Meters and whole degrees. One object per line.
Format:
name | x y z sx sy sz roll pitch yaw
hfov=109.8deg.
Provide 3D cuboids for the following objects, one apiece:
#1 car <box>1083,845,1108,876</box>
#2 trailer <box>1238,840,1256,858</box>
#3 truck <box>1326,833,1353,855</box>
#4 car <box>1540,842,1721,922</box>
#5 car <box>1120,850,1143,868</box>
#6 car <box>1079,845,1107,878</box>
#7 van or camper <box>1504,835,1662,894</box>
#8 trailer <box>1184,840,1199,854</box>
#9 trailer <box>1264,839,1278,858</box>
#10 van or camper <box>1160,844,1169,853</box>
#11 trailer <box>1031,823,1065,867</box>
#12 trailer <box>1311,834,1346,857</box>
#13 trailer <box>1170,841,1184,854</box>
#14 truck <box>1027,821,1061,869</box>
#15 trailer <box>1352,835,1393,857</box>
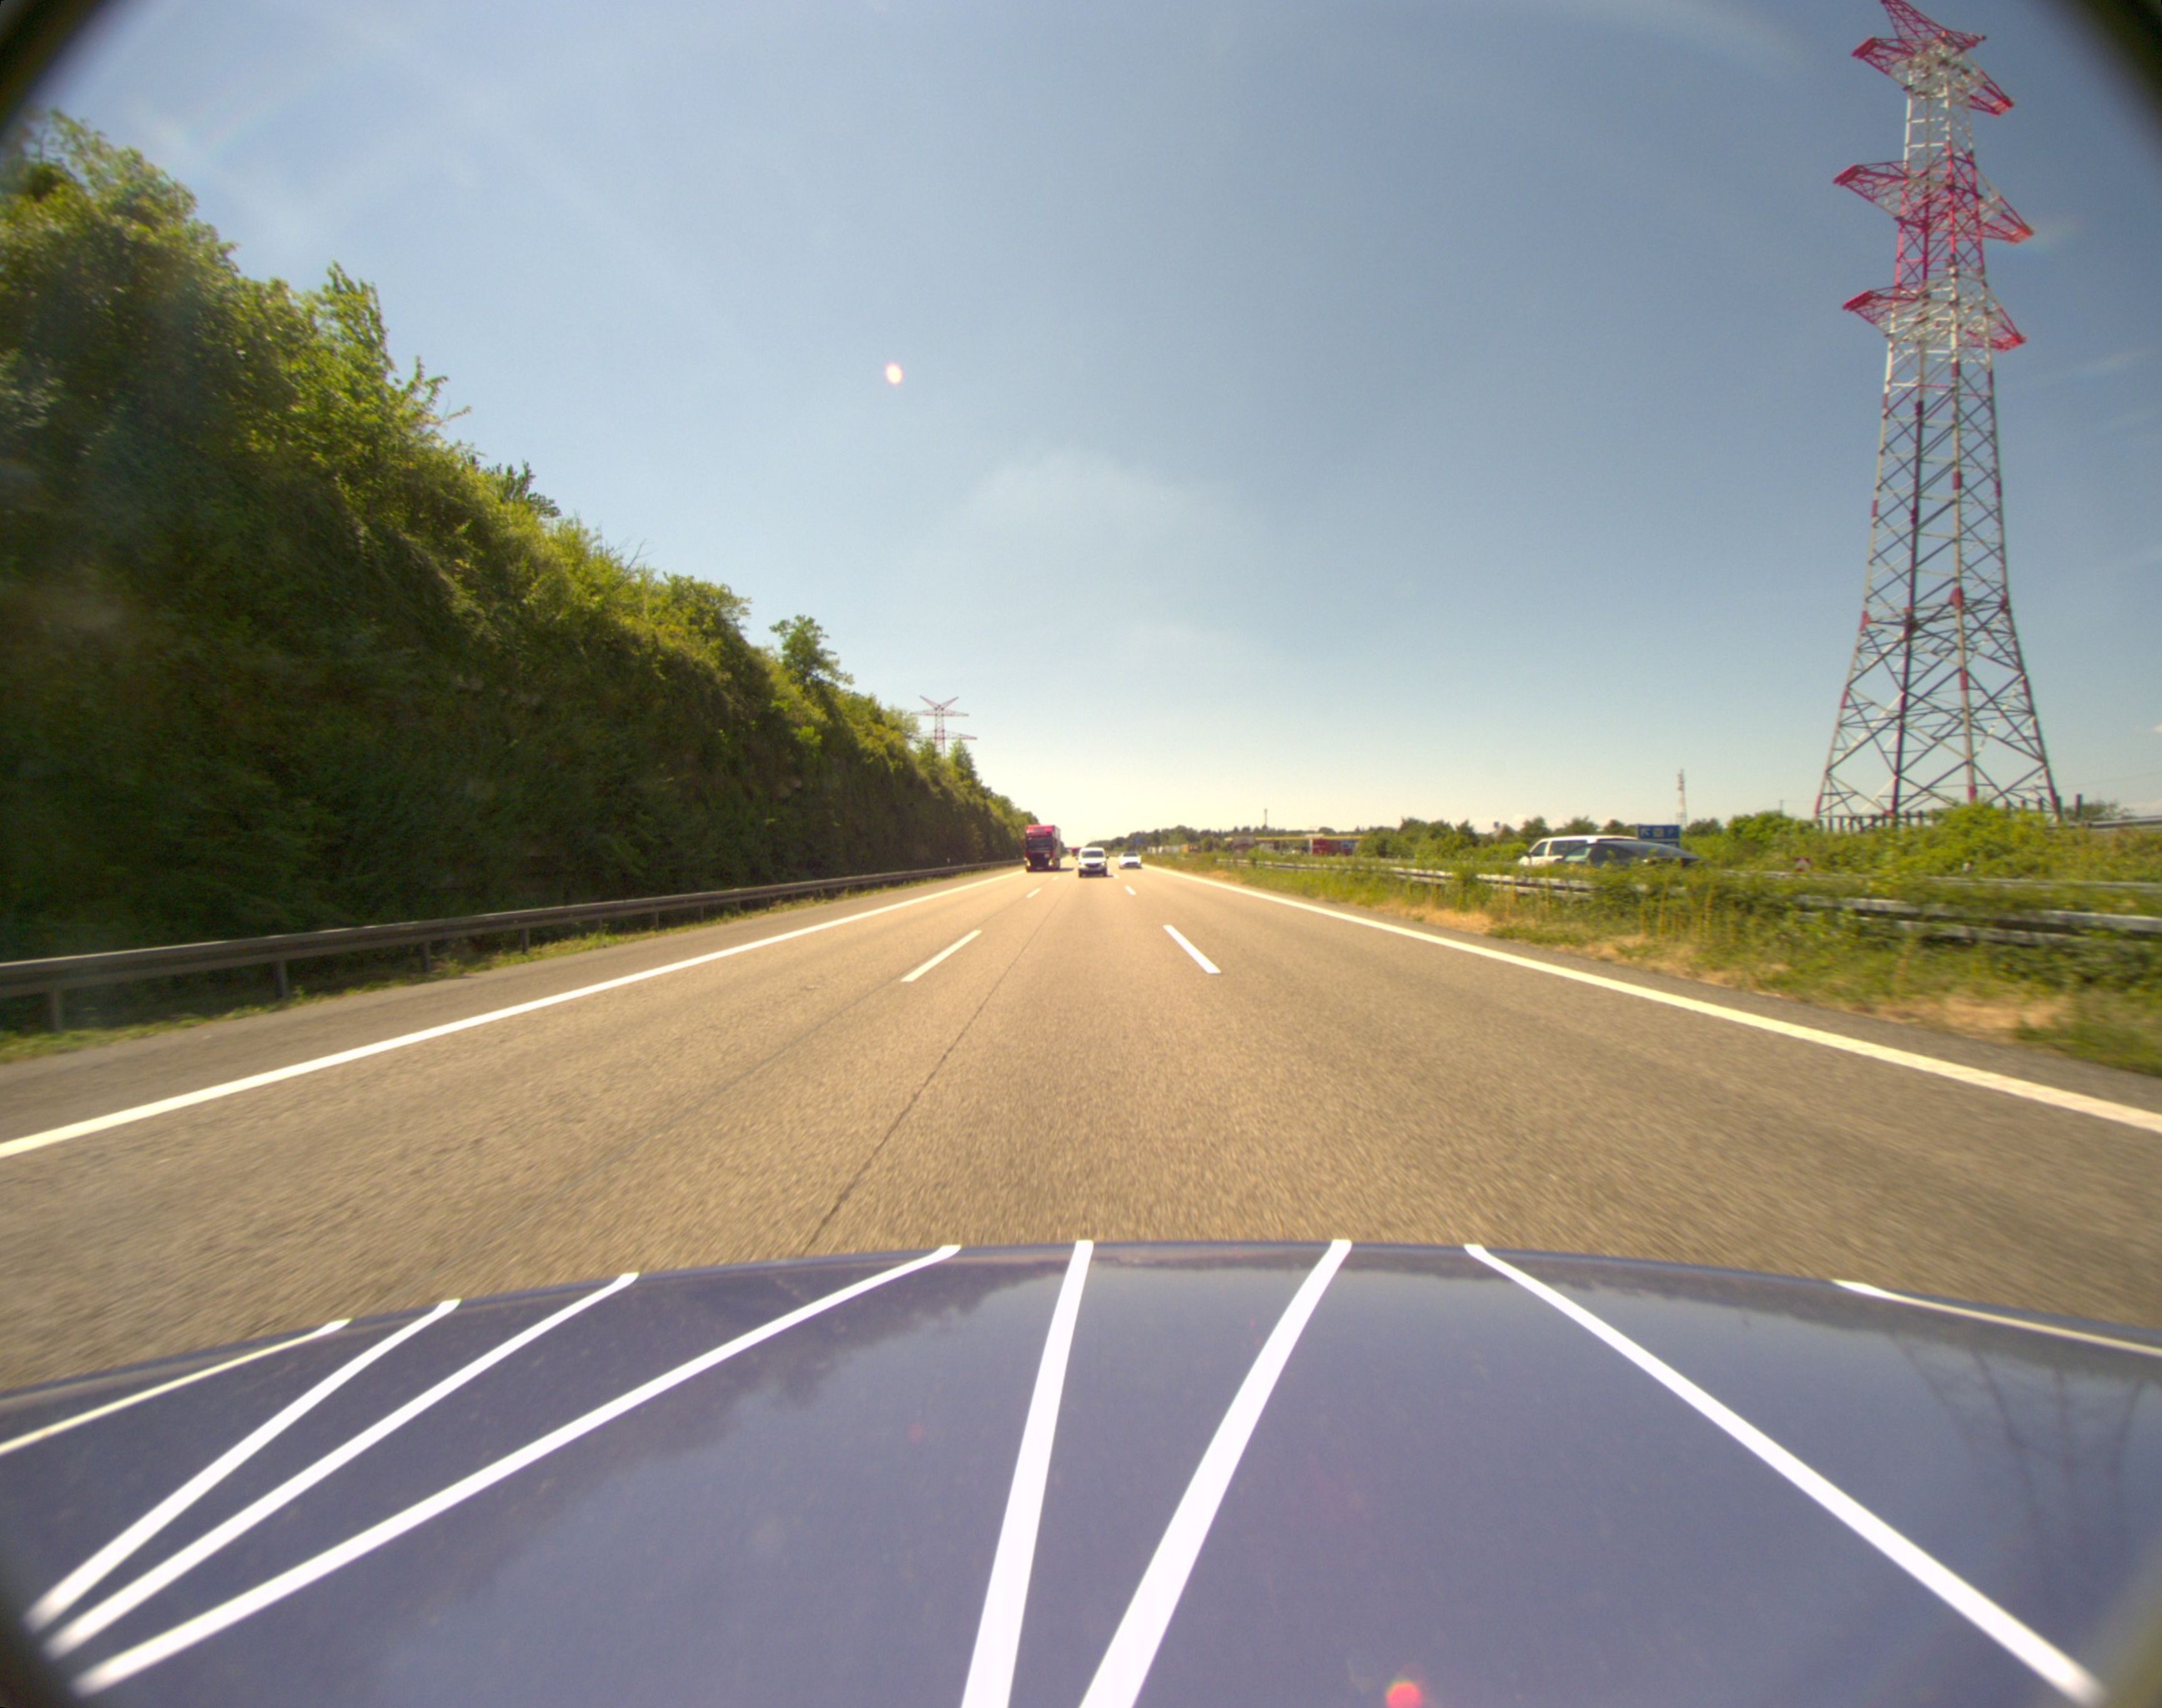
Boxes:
car | 0.895 0.370 47.336 1.413 1.795 3.200 -3 0 0
trailer | 46.937 -1.337 215.052 3.040 4.822 9.134 -3 0 2
truck | 50.916 -1.976 149.496 3.119 4.026 6.658 -2 1 35
car | 12.968 0.592 18.226 1.634 1.653 3.727 -3 0 1
car | 4.337 0.384 65.755 1.775 1.410 3.401 -3 0 1
car | 0.665 0.399 43.890 1.501 1.799 3.394 -3 0 0
van or camper | 17.551 0.325 26.994 2.131 1.845 5.310 1 0 1
trailer | 33.749 -2.143 232.045 2.840 4.195 11.081 -3 0 -1
trailer | 50.937 -1.471 203.751 3.306 4.846 9.693 -2 1 15
van or camper | 24.403 -1.548 222.867 2.064 2.510 6.389 -3 0 1
trailer | -3.096 -0.863 75.110 2.497 3.887 14.244 -2 0 0
trailer | 46.867 -1.713 143.658 3.123 4.032 11.334 -2 1 35
trailer | 32.062 -2.020 254.007 2.840 4.124 12.082 -3 0 -1
truck | -3.160 -0.793 66.291 2.505 3.897 7.096 -2 1 0
trailer | 62.702 -1.810 163.233 11.083 4.241 3.158 -3 1 -40
